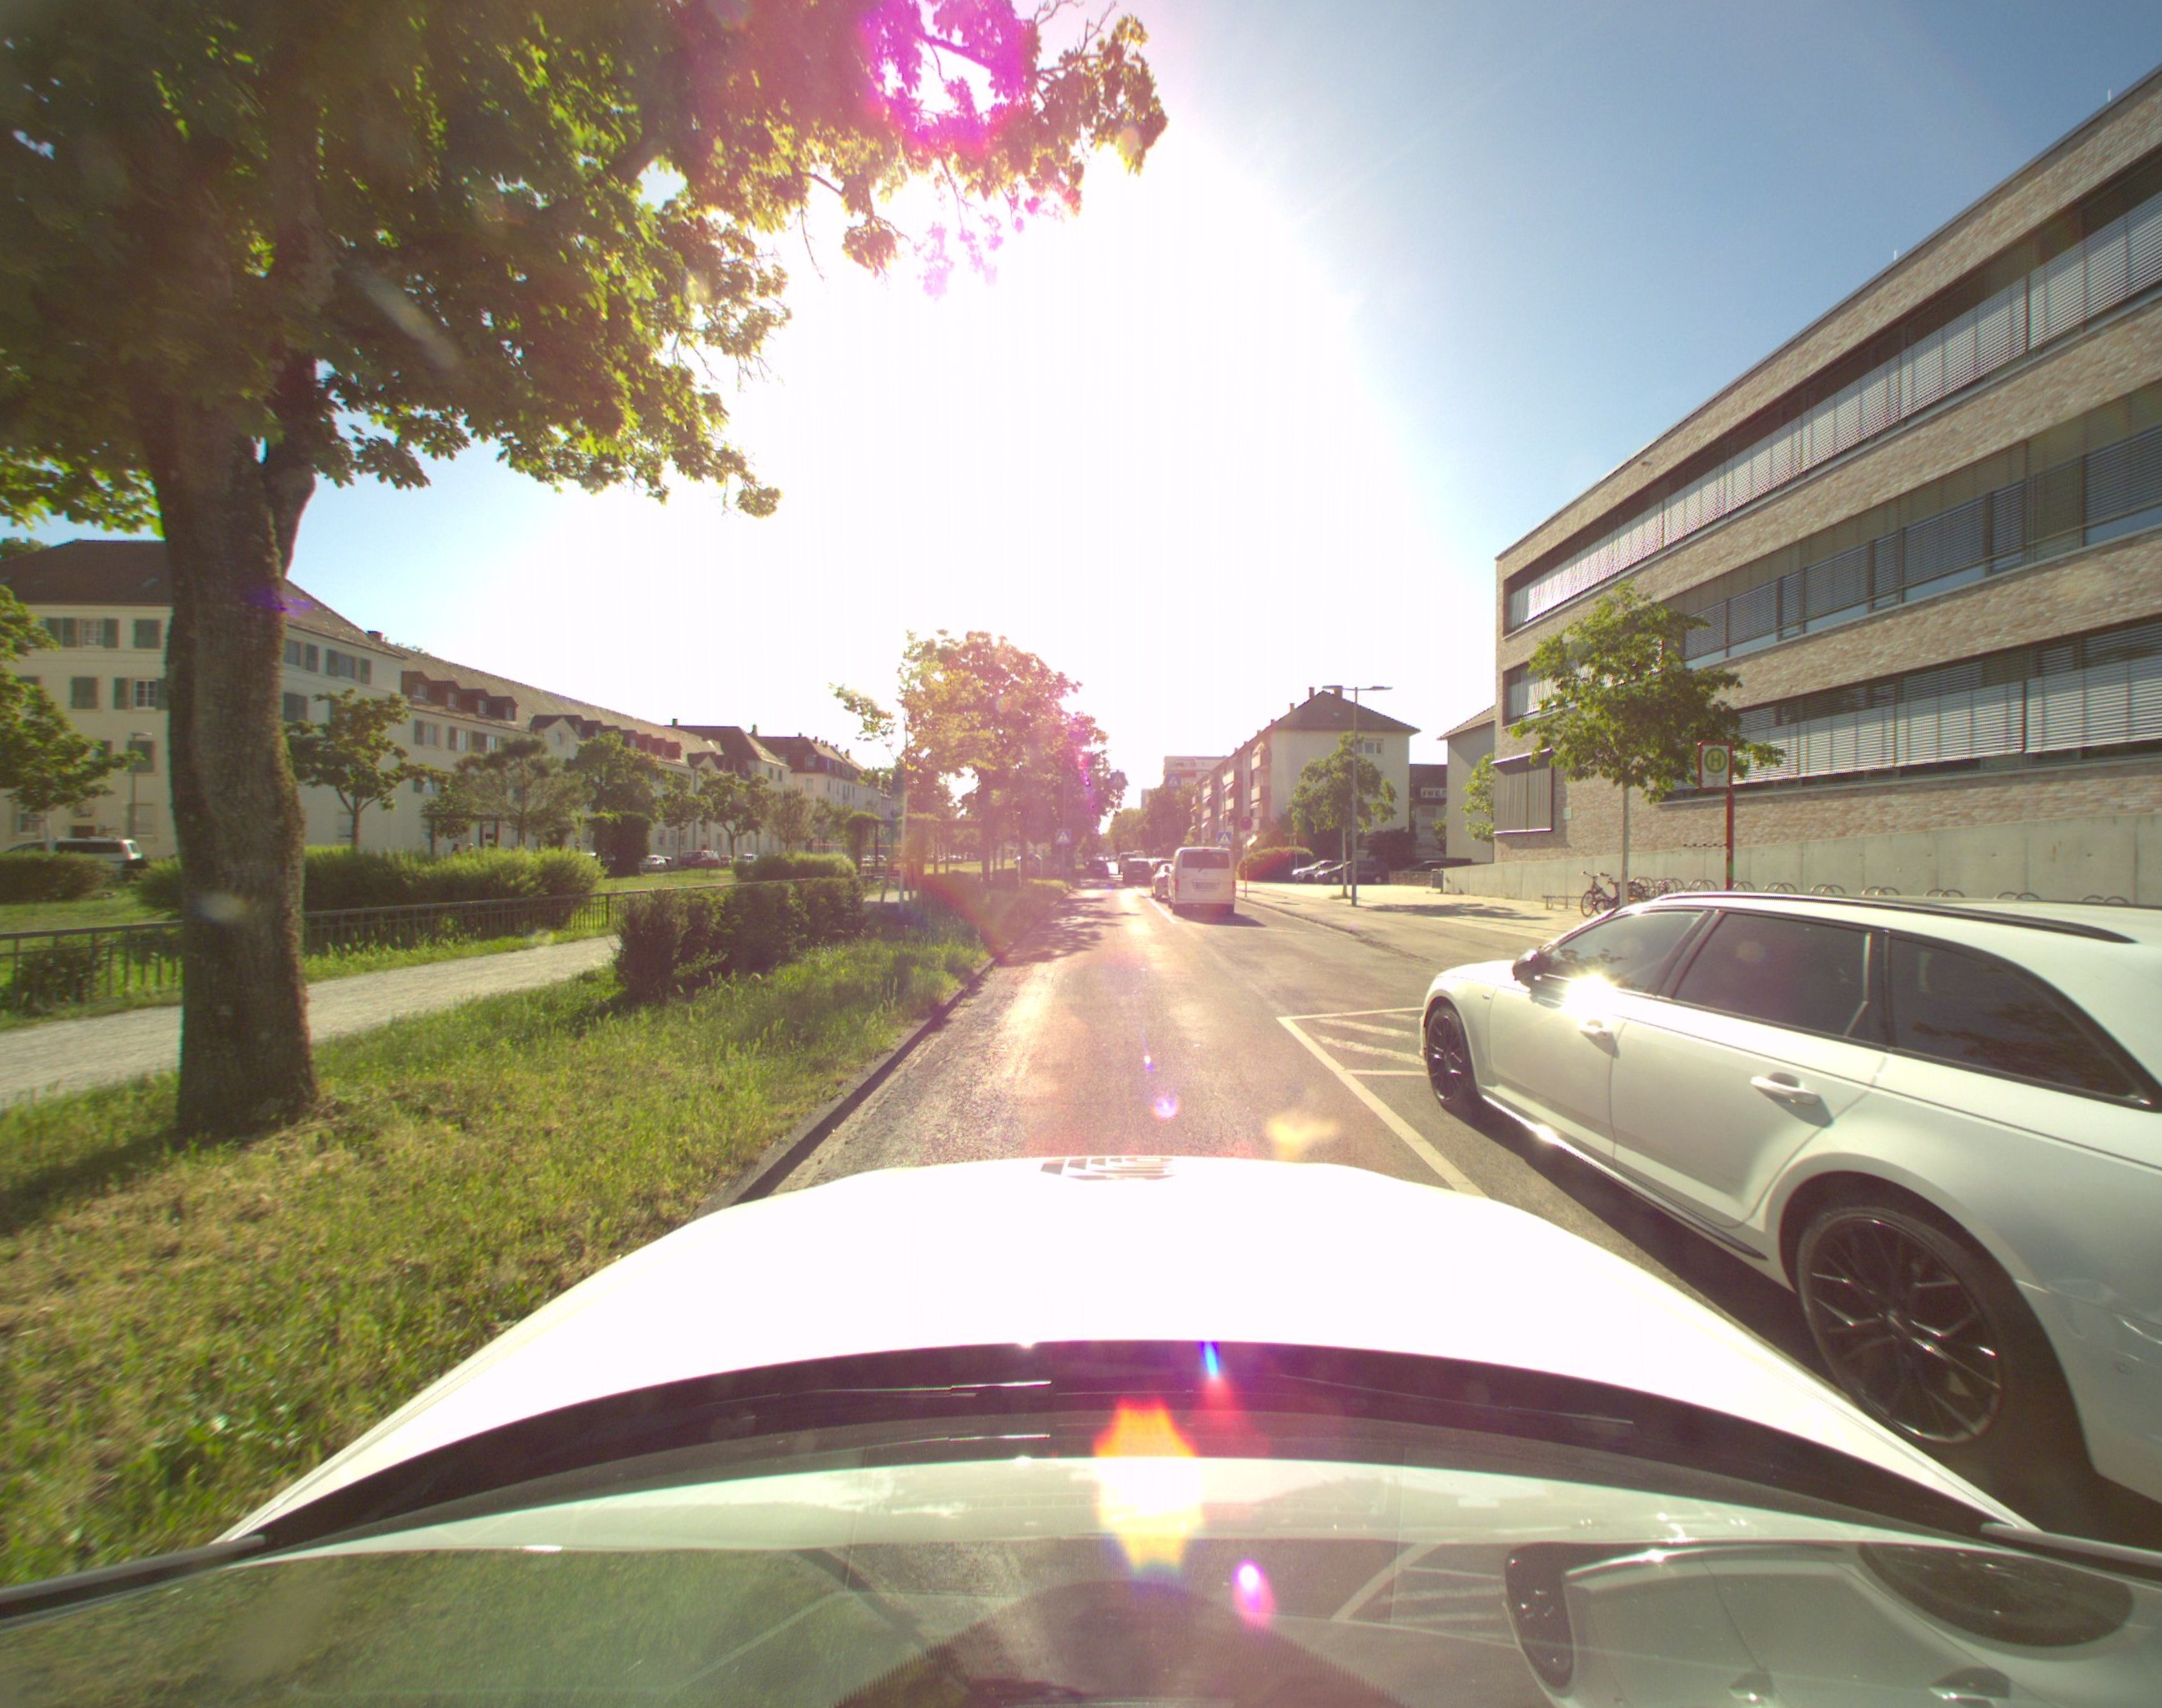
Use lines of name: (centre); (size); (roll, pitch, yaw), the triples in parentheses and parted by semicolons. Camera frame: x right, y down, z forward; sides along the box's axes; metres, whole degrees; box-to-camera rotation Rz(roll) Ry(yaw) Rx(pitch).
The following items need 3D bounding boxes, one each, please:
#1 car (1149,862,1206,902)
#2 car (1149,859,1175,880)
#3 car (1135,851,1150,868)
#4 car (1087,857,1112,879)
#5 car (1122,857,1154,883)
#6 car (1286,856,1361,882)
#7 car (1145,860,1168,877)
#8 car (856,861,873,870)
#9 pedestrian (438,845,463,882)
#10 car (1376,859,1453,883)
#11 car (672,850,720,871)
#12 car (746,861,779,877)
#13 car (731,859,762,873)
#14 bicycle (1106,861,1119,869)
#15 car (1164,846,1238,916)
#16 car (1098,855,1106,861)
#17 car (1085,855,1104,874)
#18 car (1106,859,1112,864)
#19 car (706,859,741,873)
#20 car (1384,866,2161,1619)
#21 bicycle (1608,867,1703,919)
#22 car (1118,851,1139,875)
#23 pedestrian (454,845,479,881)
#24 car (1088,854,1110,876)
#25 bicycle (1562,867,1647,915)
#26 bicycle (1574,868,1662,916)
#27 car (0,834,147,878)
car: (3.537, 1.021, 30.492); (1.758, 1.319, 4.169); (2, -1, 2)
car: (6.295, 1.185, 63.809); (1.787, 1.601, 4.002); (1, 0, 2)
car: (9.253, 0.812, 122.182); (1.986, 2.430, 4.502); (3, 0, 2)
car: (1.434, 1.032, 61.629); (1.787, 1.624, 4.002); (1, 0, 2)
car: (3.400, 0.952, 49.187); (1.787, 1.510, 4.002); (1, 0, 2)
car: (16.171, 1.026, 54.422); (4.467, 1.622, 1.799); (1, -2, -1)
car: (6.818, 1.282, 73.884); (1.787, 1.510, 4.002); (1, 0, 2)
car: (-37.258, 1.943, 140.239); (1.788, 1.510, 4.001); (1, 0, 1)
pedestrian: (-29.417, 0.435, 38.001); (0.645, 1.698, 0.650); (0, -1, 2)
car: (22.421, 1.167, 54.865); (4.467, 1.540, 1.799); (1, -2, -1)
car: (-33.162, 0.567, 70.292); (1.787, 1.710, 4.704); (1, 0, 2)
car: (-33.087, 1.541, 84.723); (1.787, 1.510, 4.002); (1, 0, 2)
car: (-38.183, 1.391, 93.120); (1.787, 1.510, 4.002); (1, 0, 2)
bicycle: (5.461, 1.912, 141.834); (2.317, 1.540, 0.630); (0, -1, -3)
car: (3.419, 0.726, 23.966); (1.786, 1.855, 4.417); (1, 0, 4)
car: (4.721, 0.911, 186.375); (1.787, 1.510, 4.002); (0, -1, 2)
car: (1.529, 1.152, 90.500); (1.986, 2.014, 4.002); (0, -1, 2)
car: (8.447, 2.151, 248.487); (1.787, 1.510, 4.002); (0, -1, 2)
car: (-38.274, 1.267, 87.285); (1.787, 1.510, 4.002); (1, 0, 2)
car: (3.021, 0.786, 3.508); (1.788, 1.420, 4.658); (1, -1, 1)
bicycle: (13.076, 0.872, 18.555); (1.789, 1.107, 0.500); (-2, -1, -1)
car: (4.353, 0.787, 74.542); (1.787, 2.122, 4.002); (1, 0, 2)
pedestrian: (-28.696, 0.413, 38.020); (0.645, 1.698, 0.650); (0, -1, 2)
car: (1.761, 1.048, 78.628); (1.986, 2.014, 4.002); (0, -1, 2)
bicycle: (12.985, 0.912, 20.219); (1.789, 1.107, 0.500); (-2, -1, -1)
bicycle: (12.975, 0.909, 19.700); (1.789, 1.107, 0.500); (-2, -1, -1)
car: (-39.614, 0.084, 31.696); (4.020, 1.652, 1.779); (1, -1, -40)
